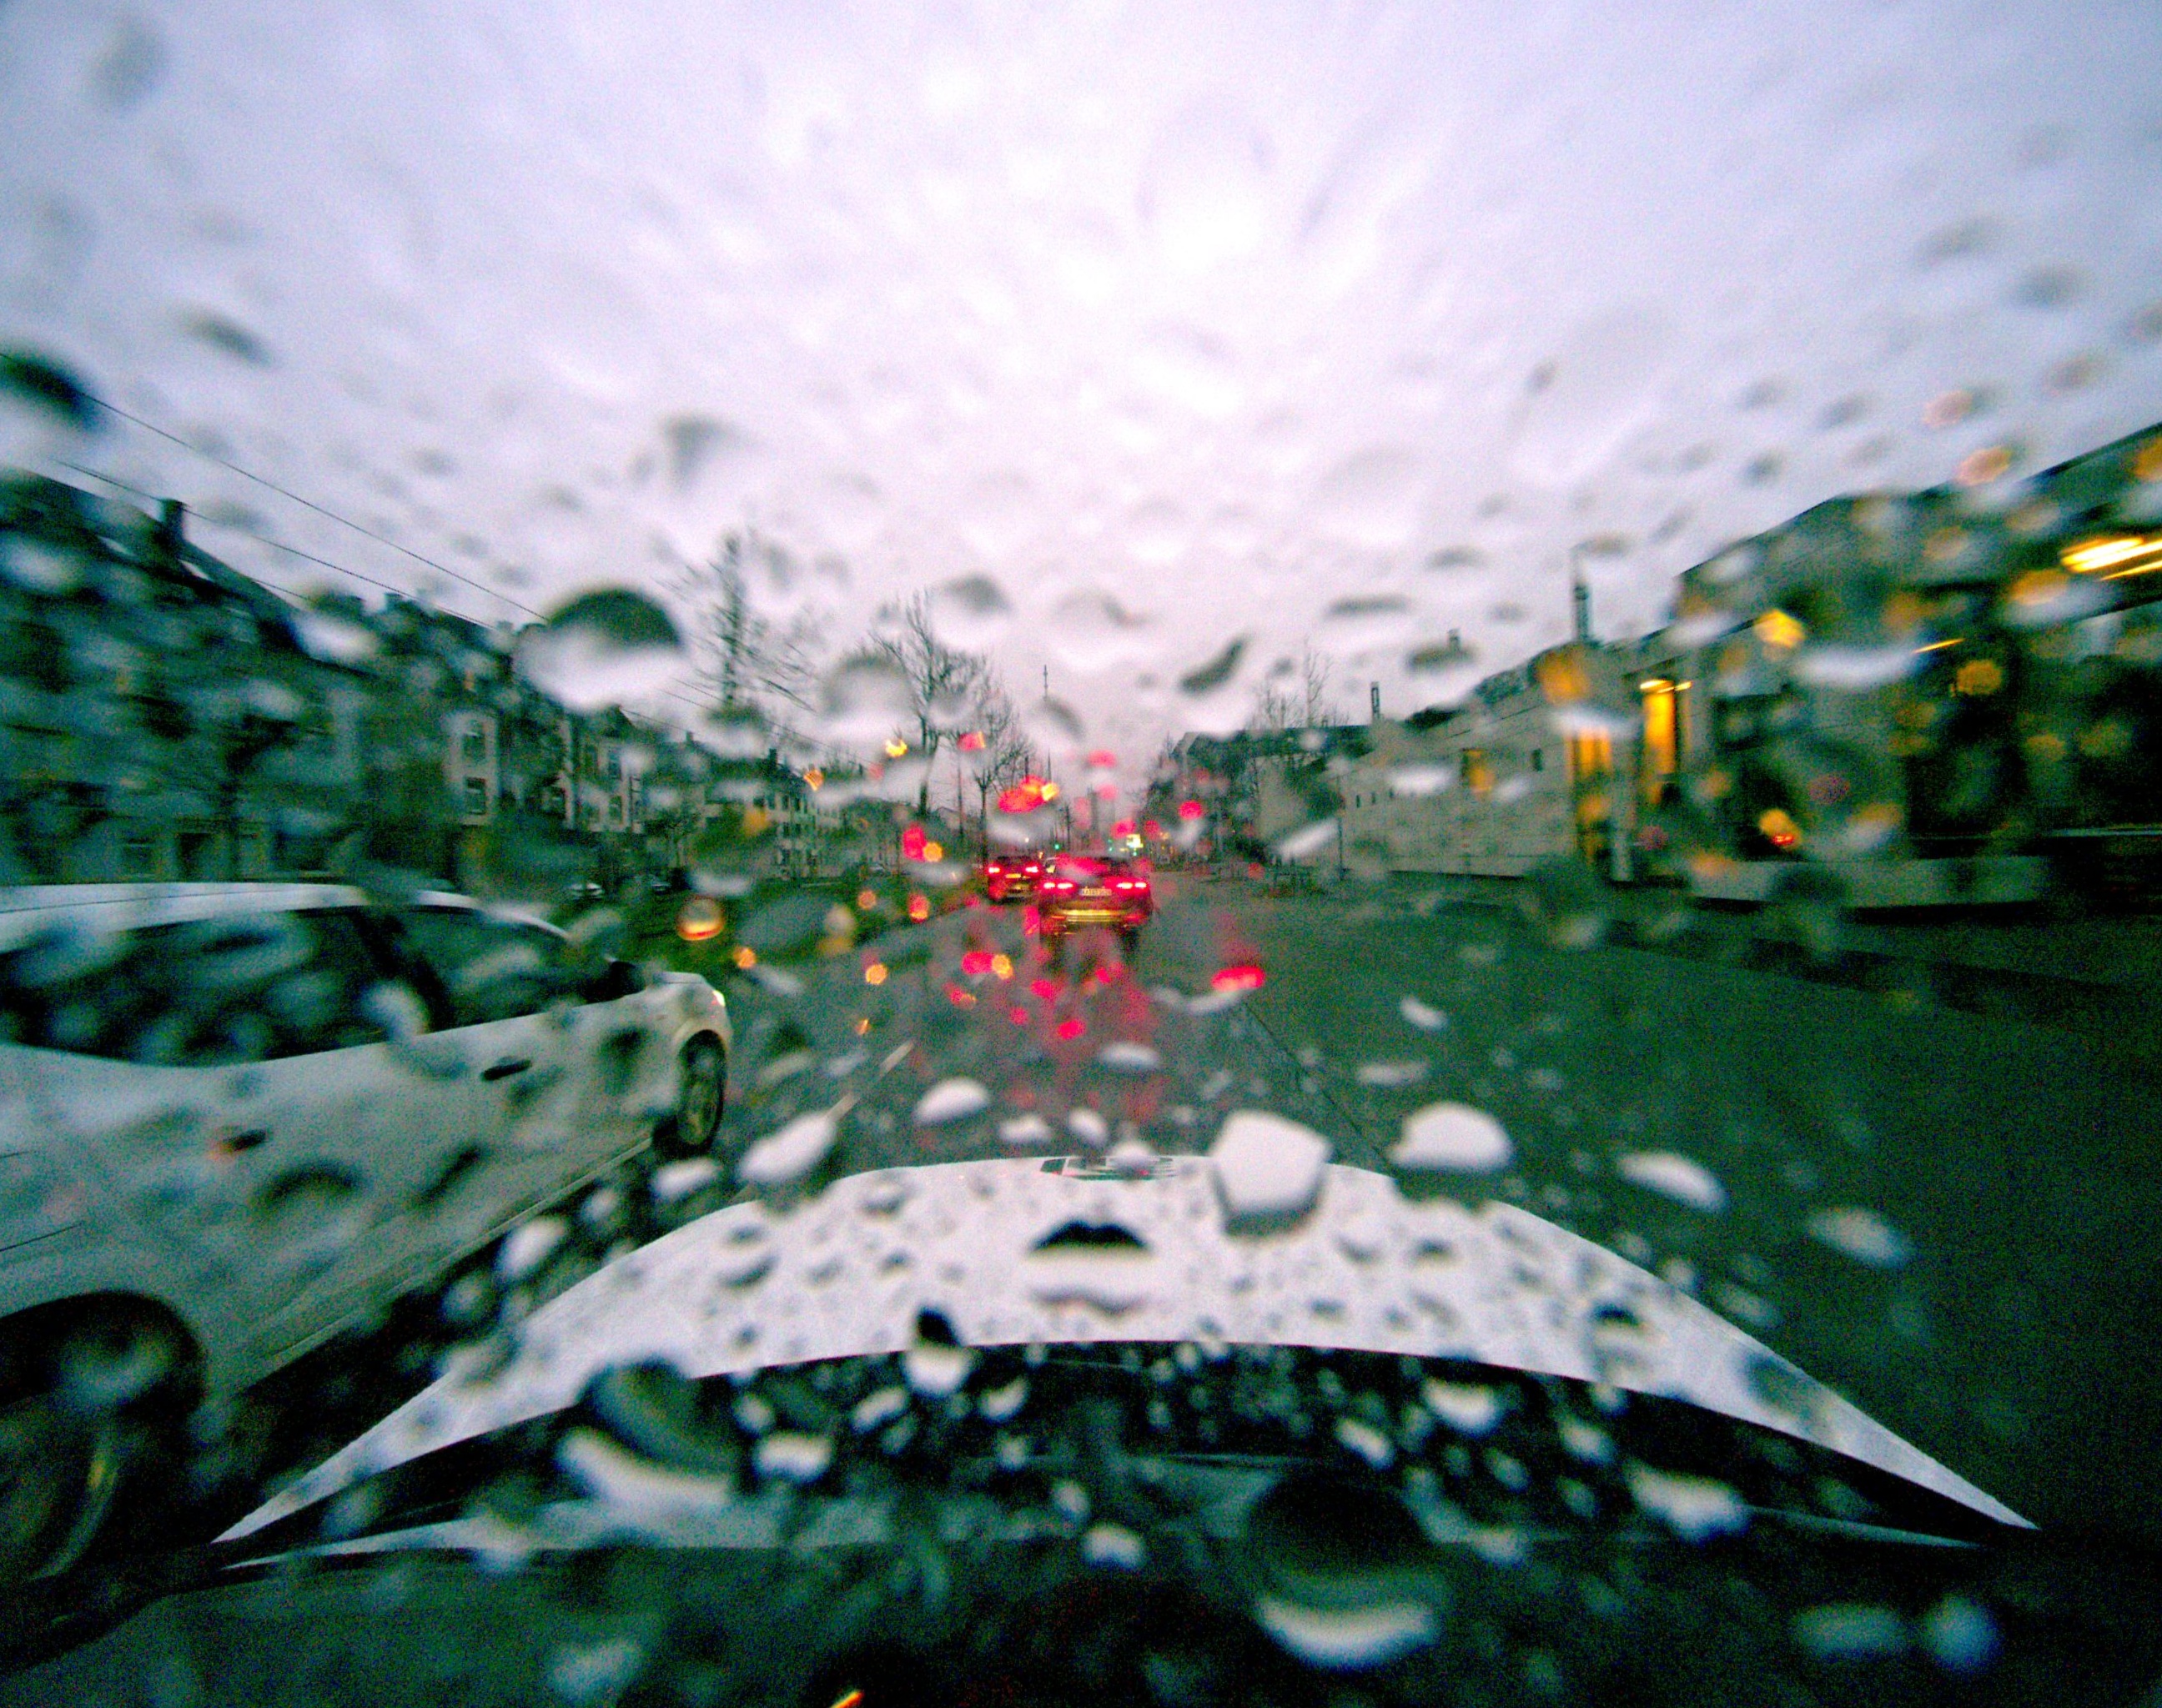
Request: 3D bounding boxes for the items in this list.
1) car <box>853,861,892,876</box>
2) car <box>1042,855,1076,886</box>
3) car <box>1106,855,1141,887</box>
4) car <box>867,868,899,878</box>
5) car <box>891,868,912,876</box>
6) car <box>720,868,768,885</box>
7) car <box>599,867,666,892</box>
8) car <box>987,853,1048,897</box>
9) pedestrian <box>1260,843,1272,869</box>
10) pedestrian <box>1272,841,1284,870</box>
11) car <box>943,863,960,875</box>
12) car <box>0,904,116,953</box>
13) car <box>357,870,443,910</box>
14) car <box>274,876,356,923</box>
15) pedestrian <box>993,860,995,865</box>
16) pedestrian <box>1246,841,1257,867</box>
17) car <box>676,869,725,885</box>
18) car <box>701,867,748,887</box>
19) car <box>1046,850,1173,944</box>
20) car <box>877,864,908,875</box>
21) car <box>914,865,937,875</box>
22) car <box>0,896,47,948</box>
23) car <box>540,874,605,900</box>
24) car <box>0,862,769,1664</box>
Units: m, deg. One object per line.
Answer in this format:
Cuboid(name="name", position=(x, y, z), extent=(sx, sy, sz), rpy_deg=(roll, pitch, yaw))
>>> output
Cuboid(name="car", position=(-24.293, 1.692, 94.709), extent=(4.598, 1.723, 1.845), rpy_deg=(0, 0, 36))
Cuboid(name="car", position=(-1.202, 0.910, 45.365), extent=(1.683, 1.635, 3.475), rpy_deg=(0, -1, 2))
Cuboid(name="car", position=(2.270, 0.888, 44.287), extent=(1.848, 1.635, 3.475), rpy_deg=(0, -1, 2))
Cuboid(name="car", position=(-23.921, 2.302, 98.404), extent=(3.526, 1.141, 1.748), rpy_deg=(0, 0, 34))
Cuboid(name="car", position=(-23.645, 2.388, 107.142), extent=(2.361, 1.048, 1.446), rpy_deg=(0, 0, 34))
Cuboid(name="car", position=(-25.846, 1.737, 62.390), extent=(4.053, 1.161, 1.722), rpy_deg=(1, -1, 41))
Cuboid(name="car", position=(-26.345, 1.472, 47.854), extent=(3.321, 1.418, 1.888), rpy_deg=(-1, -2, 27))
Cuboid(name="car", position=(-2.189, 0.717, 28.961), extent=(1.811, 1.450, 3.999), rpy_deg=(0, -1, 0))
Cuboid(name="pedestrian", position=(11.512, 0.105, 50.622), extent=(0.667, 1.612, 0.617), rpy_deg=(-1, -1, 15))
Cuboid(name="pedestrian", position=(12.221, 0.099, 50.446), extent=(0.667, 1.778, 0.617), rpy_deg=(-1, -1, 15))
Cuboid(name="car", position=(-17.976, 2.077, 113.393), extent=(1.539, 1.504, 3.786), rpy_deg=(0, -1, 3))
Cuboid(name="car", position=(-28.953, 2.032, 21.991), extent=(1.226, 1.169, 3.897), rpy_deg=(0, 0, -2))
Cuboid(name="car", position=(-27.206, 1.389, 32.472), extent=(4.603, 1.432, 1.705), rpy_deg=(-1, -1, 38))
Cuboid(name="car", position=(-27.492, 1.575, 29.194), extent=(3.901, 1.448, 1.831), rpy_deg=(0, 0, 42))
Cuboid(name="pedestrian", position=(-22.168, 2.150, 207.296), extent=(0.348, 1.184, 0.429), rpy_deg=(0, -1, -39))
Cuboid(name="pedestrian", position=(10.853, -0.010, 51.817), extent=(0.667, 1.625, 0.617), rpy_deg=(-1, -1, 17))
Cuboid(name="car", position=(-25.634, 1.538, 54.857), extent=(2.882, 0.989, 1.806), rpy_deg=(1, -1, 37))
Cuboid(name="car", position=(-25.711, 1.644, 58.676), extent=(3.993, 1.230, 1.357), rpy_deg=(1, -1, 38))
Cuboid(name="car", position=(0.508, 0.705, 14.724), extent=(1.986, 1.483, 3.701), rpy_deg=(0, -1, 2))
Cuboid(name="car", position=(-23.401, 1.933, 101.067), extent=(3.534, 1.309, 1.697), rpy_deg=(0, 0, 34))
Cuboid(name="car", position=(-22.976, 2.366, 120.399), extent=(2.899, 1.336, 1.749), rpy_deg=(0, 0, 34))
Cuboid(name="car", position=(-33.463, 2.075, 24.056), extent=(1.604, 1.529, 3.271), rpy_deg=(0, -1, 3))
Cuboid(name="car", position=(-27.008, 1.701, 43.218), extent=(4.212, 1.258, 1.844), rpy_deg=(-1, -1, 42))
Cuboid(name="car", position=(-2.796, 0.775, 2.936), extent=(1.682, 1.474, 4.002), rpy_deg=(0, -1, 2))
